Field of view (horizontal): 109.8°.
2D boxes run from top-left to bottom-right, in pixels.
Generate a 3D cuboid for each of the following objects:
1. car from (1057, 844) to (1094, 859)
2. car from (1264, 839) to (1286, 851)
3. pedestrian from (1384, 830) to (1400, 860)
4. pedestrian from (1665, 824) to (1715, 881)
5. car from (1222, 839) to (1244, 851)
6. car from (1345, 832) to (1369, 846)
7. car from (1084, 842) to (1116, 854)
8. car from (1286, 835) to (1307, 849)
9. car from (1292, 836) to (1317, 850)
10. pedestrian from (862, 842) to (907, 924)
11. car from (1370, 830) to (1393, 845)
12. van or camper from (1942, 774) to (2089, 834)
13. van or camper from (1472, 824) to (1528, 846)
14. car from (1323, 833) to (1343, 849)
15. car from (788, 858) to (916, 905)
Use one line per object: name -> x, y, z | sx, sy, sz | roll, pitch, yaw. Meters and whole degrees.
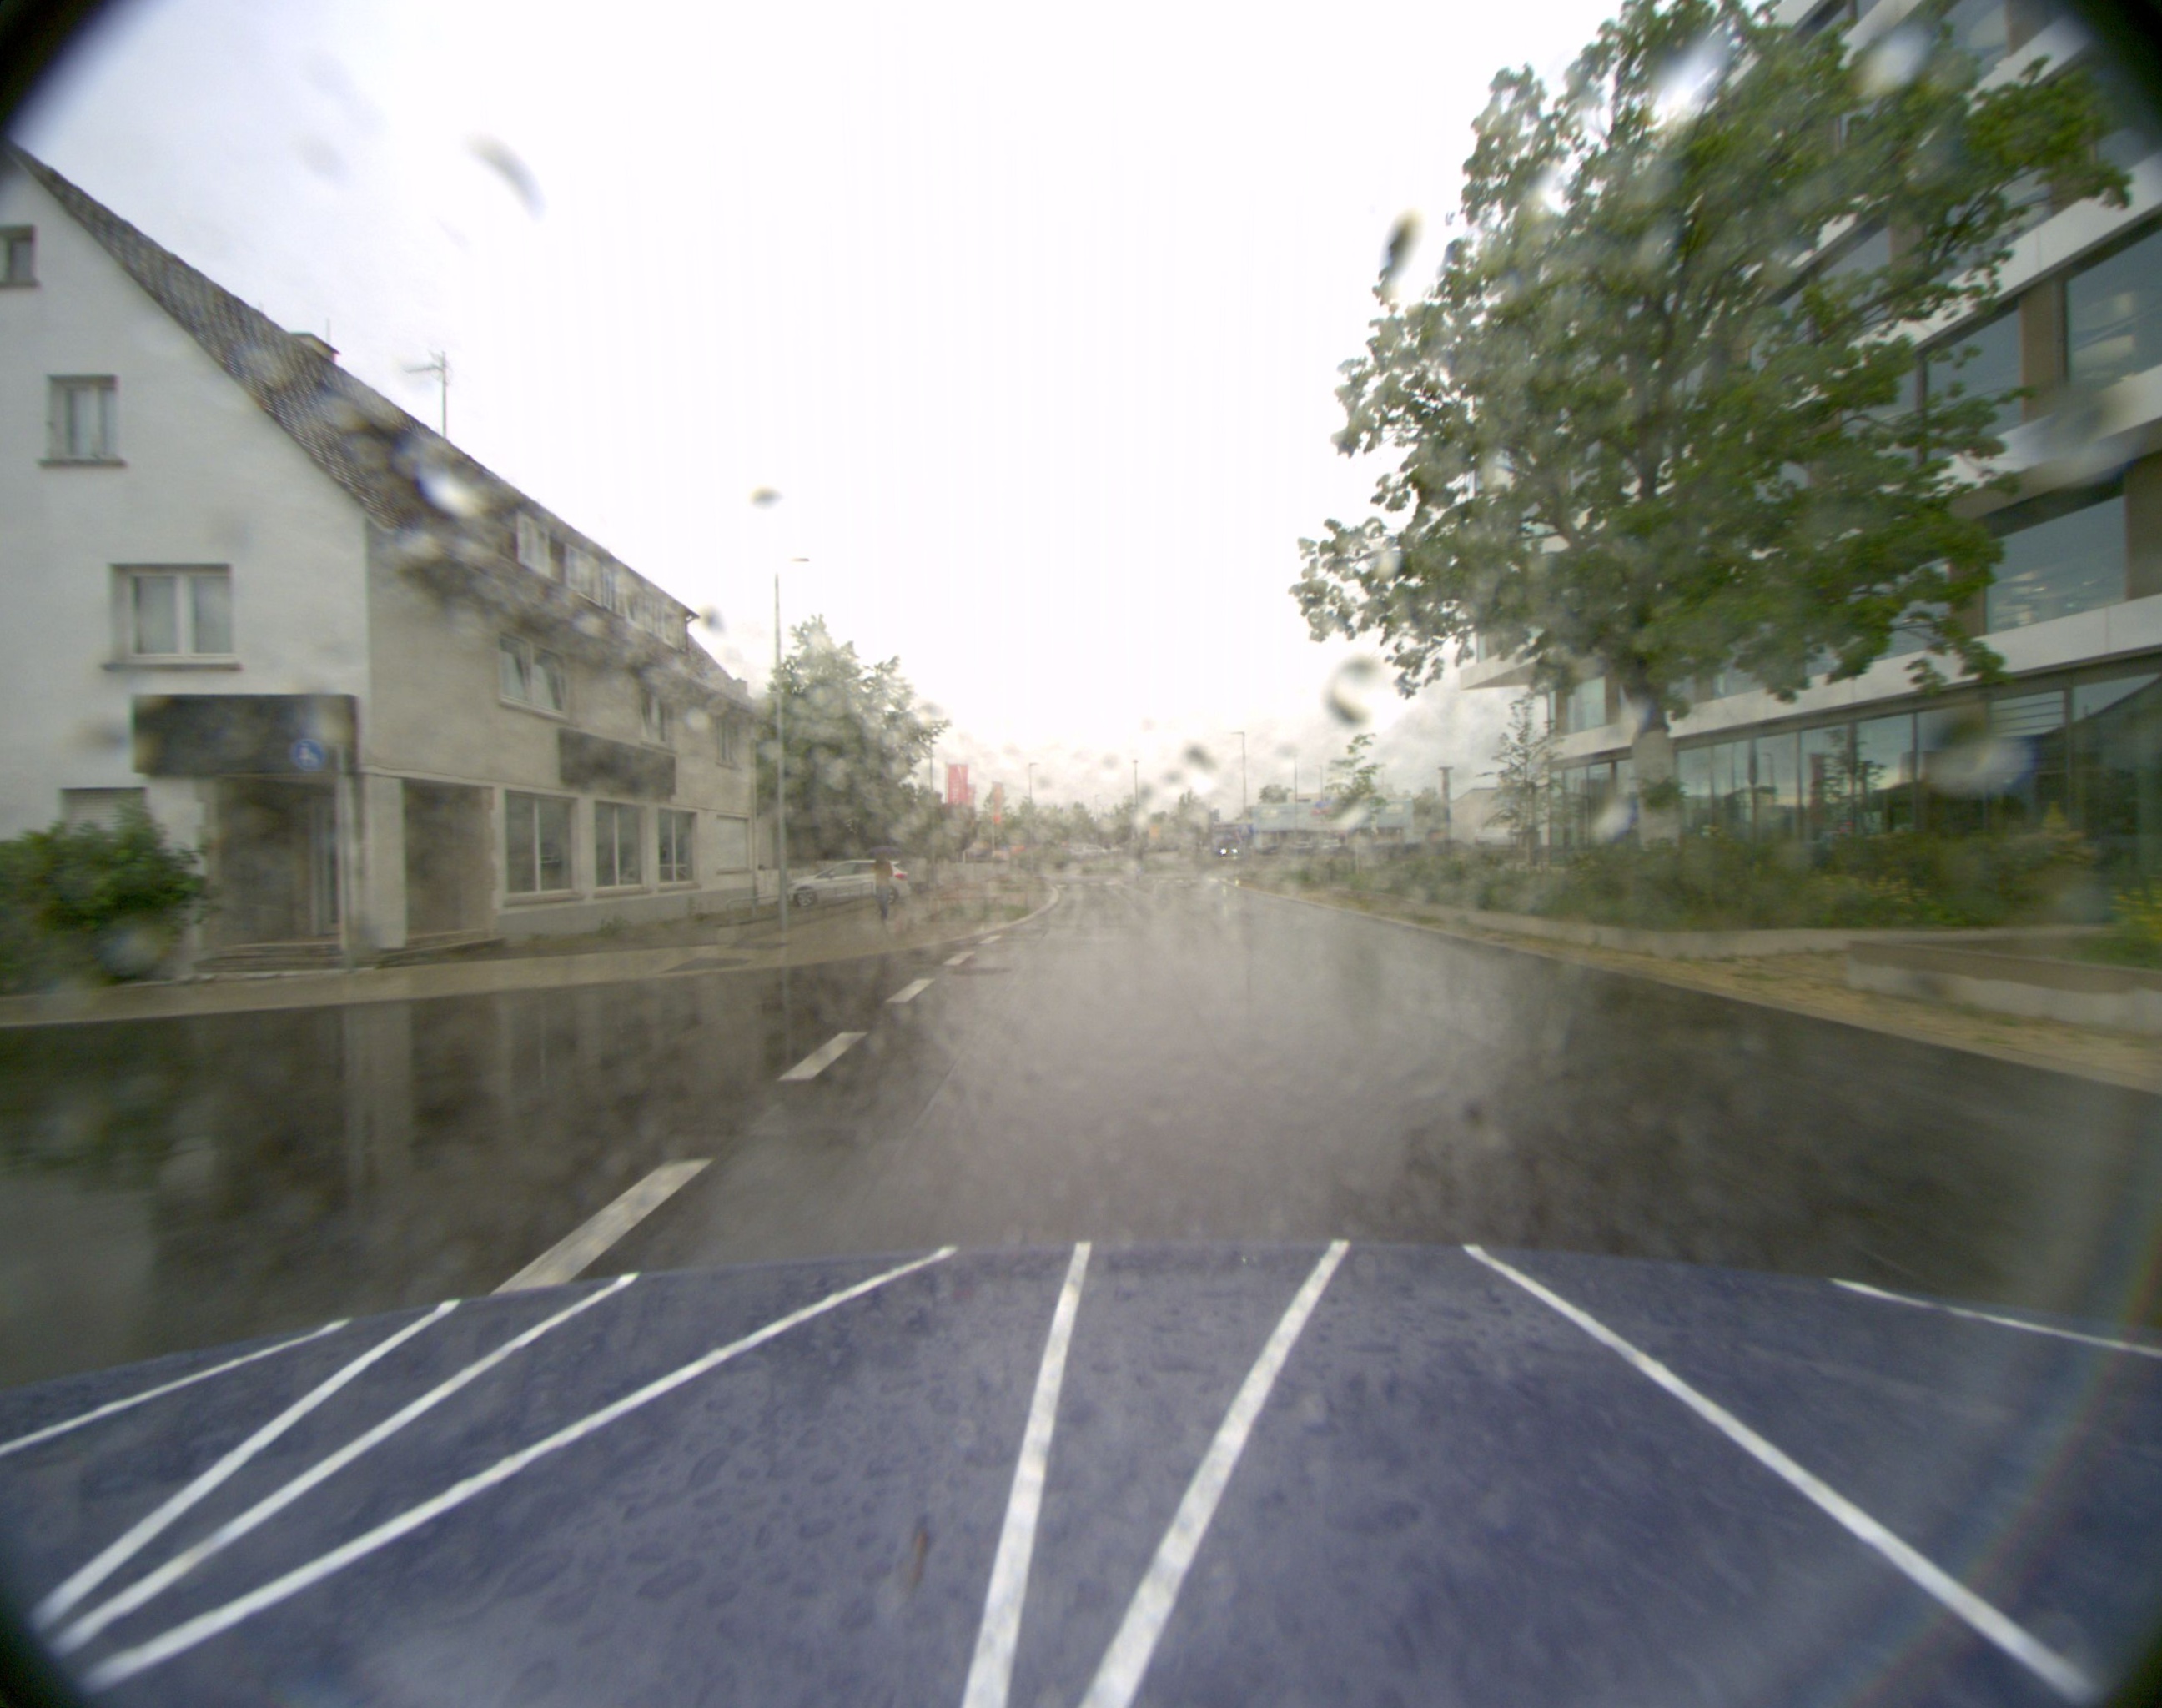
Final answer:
car -> -0.695, -0.338, 95.418 | 4.095, 1.696, 2.003 | -2, 0, 26
car -> 23.109, -1.105, 90.319 | 1.884, 1.288, 4.006 | -5, 0, 23
pedestrian -> 21.585, -0.606, 52.772 | 0.892, 2.002, 0.933 | -2, 1, 17
pedestrian -> 19.138, -0.051, 23.880 | 0.726, 1.694, 0.956 | -5, 2, 2
car -> 20.591, -1.243, 102.913 | 1.917, 1.521, 4.006 | -4, 0, 25
car -> 27.323, -1.494, 75.188 | 1.884, 1.288, 4.006 | -5, 0, 23
car -> 2.643, -0.817, 104.953 | 3.991, 1.433, 2.003 | -2, 0, 23
car -> 25.494, -1.483, 89.839 | 1.884, 1.477, 4.006 | -5, 0, 23
car -> 22.595, -1.114, 76.705 | 1.884, 1.288, 4.006 | -5, 0, 23
pedestrian -> -4.907, 0.703, 19.089 | 0.861, 2.002, 1.194 | 1, 1, -3
car -> 29.413, -1.650, 74.281 | 1.884, 1.288, 4.006 | -5, 0, 23
van or camper -> 55.204, -2.881, 45.017 | 5.091, 3.070, 2.003 | -4, 0, 20
van or camper -> 39.703, -1.781, 72.061 | 4.372, 1.751, 1.890 | -5, 0, 23
car -> 25.329, -1.309, 76.248 | 1.791, 1.543, 4.005 | -2, 0, 19
car -> -7.995, 0.920, 26.777 | 4.145, 1.571, 1.997 | 0, 0, -15
